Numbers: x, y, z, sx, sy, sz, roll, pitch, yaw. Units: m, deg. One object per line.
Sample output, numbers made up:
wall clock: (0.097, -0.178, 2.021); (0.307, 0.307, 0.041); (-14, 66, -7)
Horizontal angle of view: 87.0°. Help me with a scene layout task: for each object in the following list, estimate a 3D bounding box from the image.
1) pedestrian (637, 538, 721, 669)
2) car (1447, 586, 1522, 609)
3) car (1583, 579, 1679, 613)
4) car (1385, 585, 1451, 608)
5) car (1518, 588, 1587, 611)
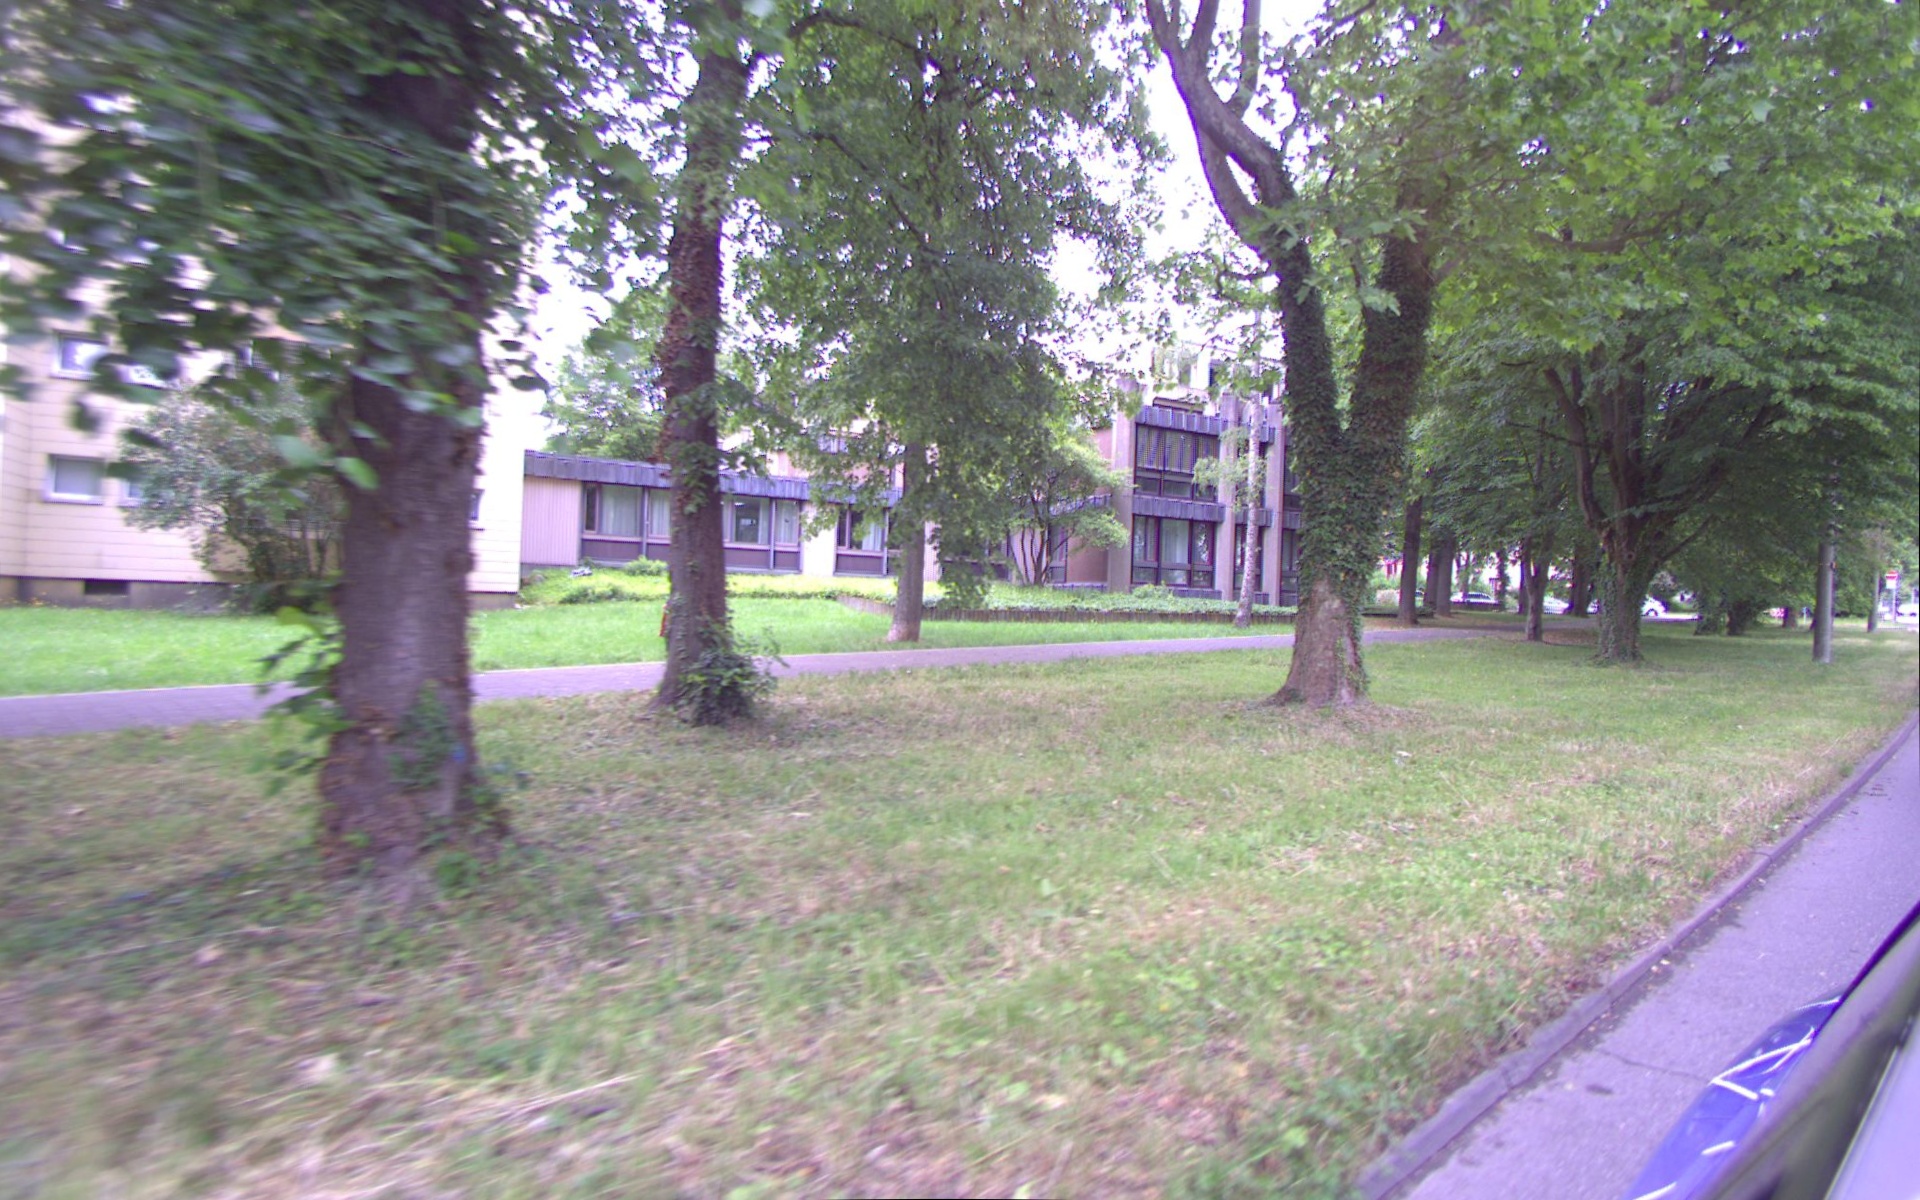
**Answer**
pedestrian: (-3.820, 0.031, 13.762); (0.801, 1.707, 0.768); (0, 2, -45)
car: (38.401, -0.188, 74.125); (4.515, 1.529, 1.800); (1, 0, -1)
car: (48.611, -0.310, 73.447); (5.242, 2.328, 2.285); (2, 0, 11)
car: (33.394, -0.263, 73.882); (3.921, 1.529, 1.801); (1, 0, -4)
car: (43.293, -0.053, 74.019); (3.929, 1.529, 1.798); (2, 0, 5)
